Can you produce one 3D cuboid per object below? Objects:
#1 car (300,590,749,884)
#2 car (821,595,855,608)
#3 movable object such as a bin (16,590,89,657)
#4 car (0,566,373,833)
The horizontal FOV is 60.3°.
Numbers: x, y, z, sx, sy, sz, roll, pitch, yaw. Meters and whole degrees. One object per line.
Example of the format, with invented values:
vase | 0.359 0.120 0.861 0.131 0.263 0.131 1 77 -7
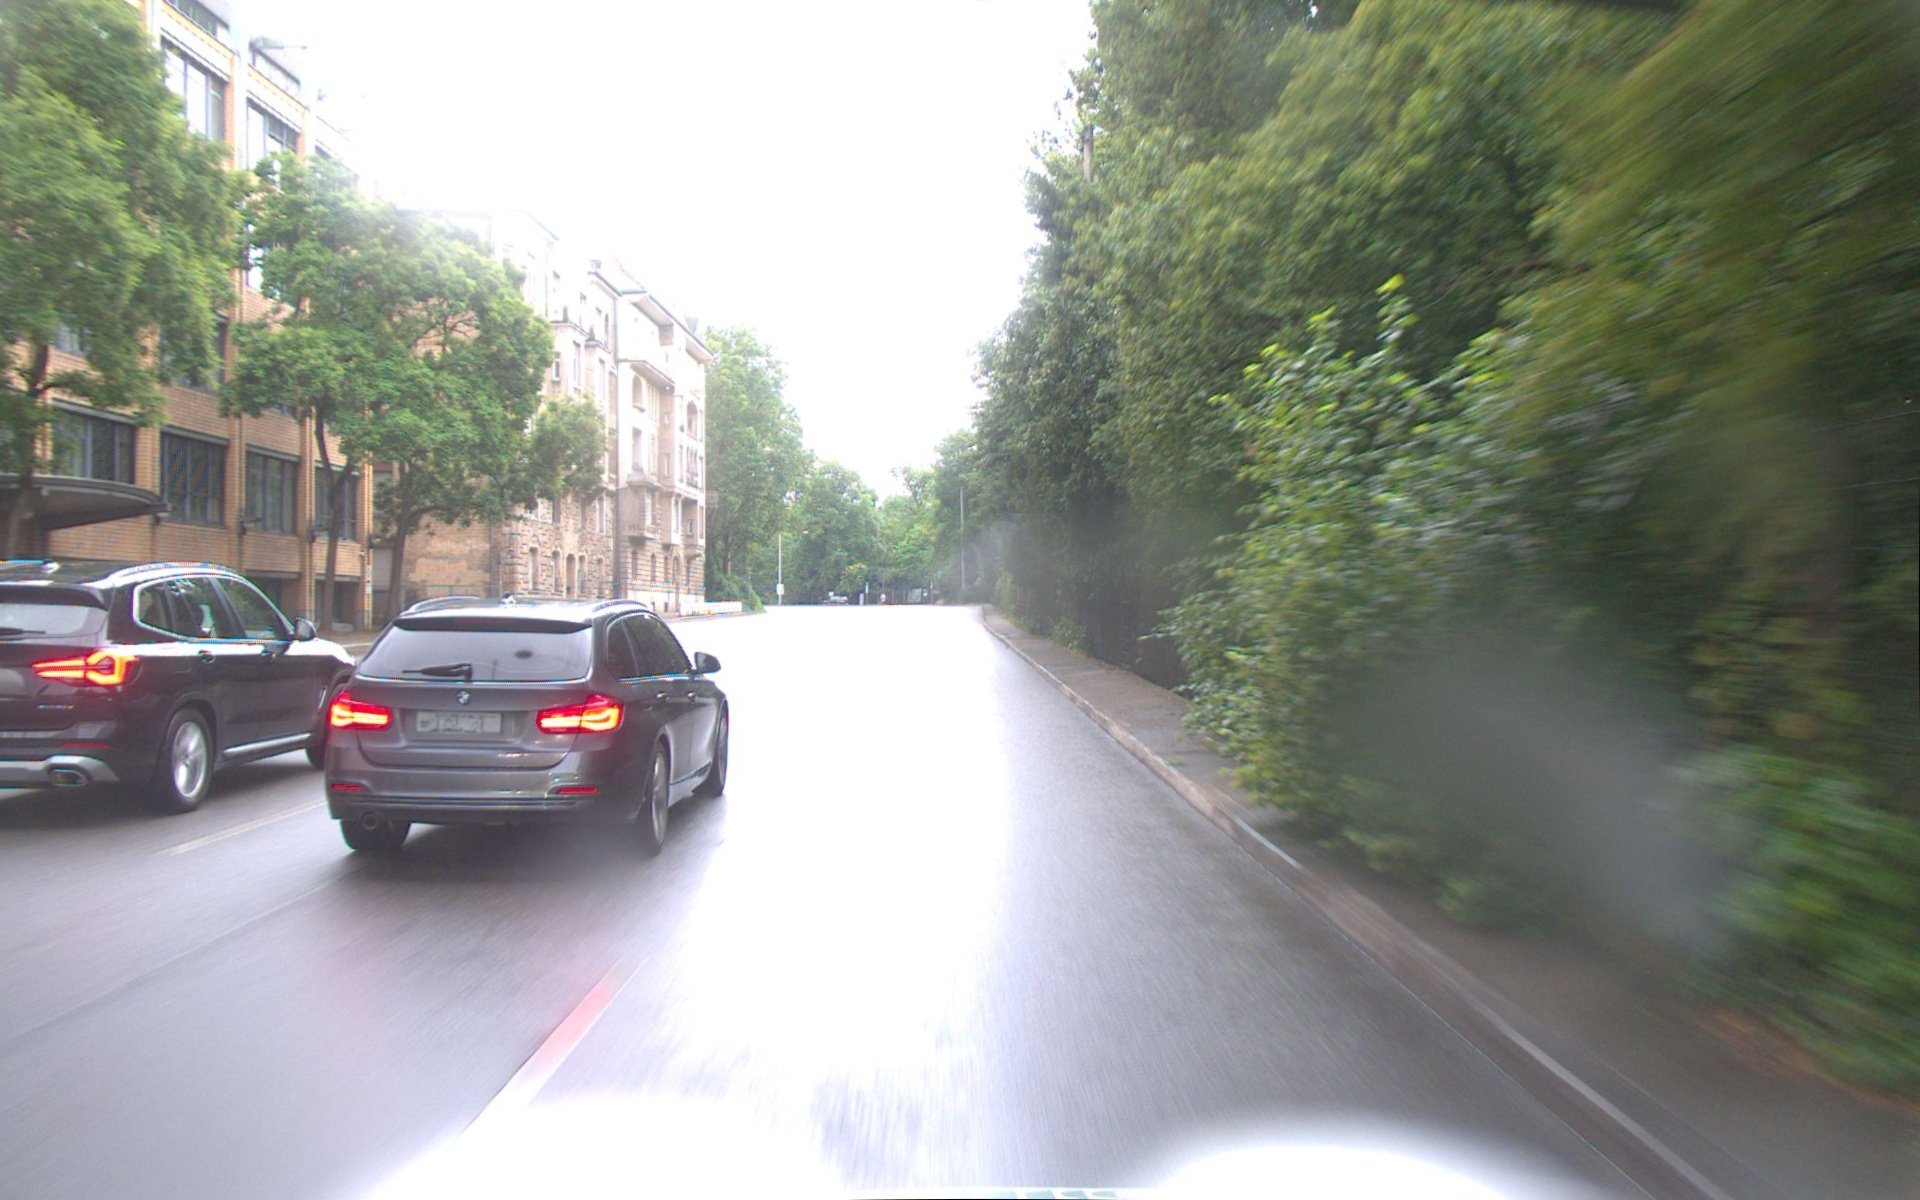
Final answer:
car | -2.496 0.695 10.623 1.722 1.457 4.412 1 0 -1
car | -15.092 0.197 204.784 4.296 1.452 1.681 0 -3 44
movable object such as a bin | -20.336 0.516 37.102 0.954 1.461 1.313 1 0 -5
car | -5.954 0.594 12.176 1.722 1.613 4.412 0 0 -1
